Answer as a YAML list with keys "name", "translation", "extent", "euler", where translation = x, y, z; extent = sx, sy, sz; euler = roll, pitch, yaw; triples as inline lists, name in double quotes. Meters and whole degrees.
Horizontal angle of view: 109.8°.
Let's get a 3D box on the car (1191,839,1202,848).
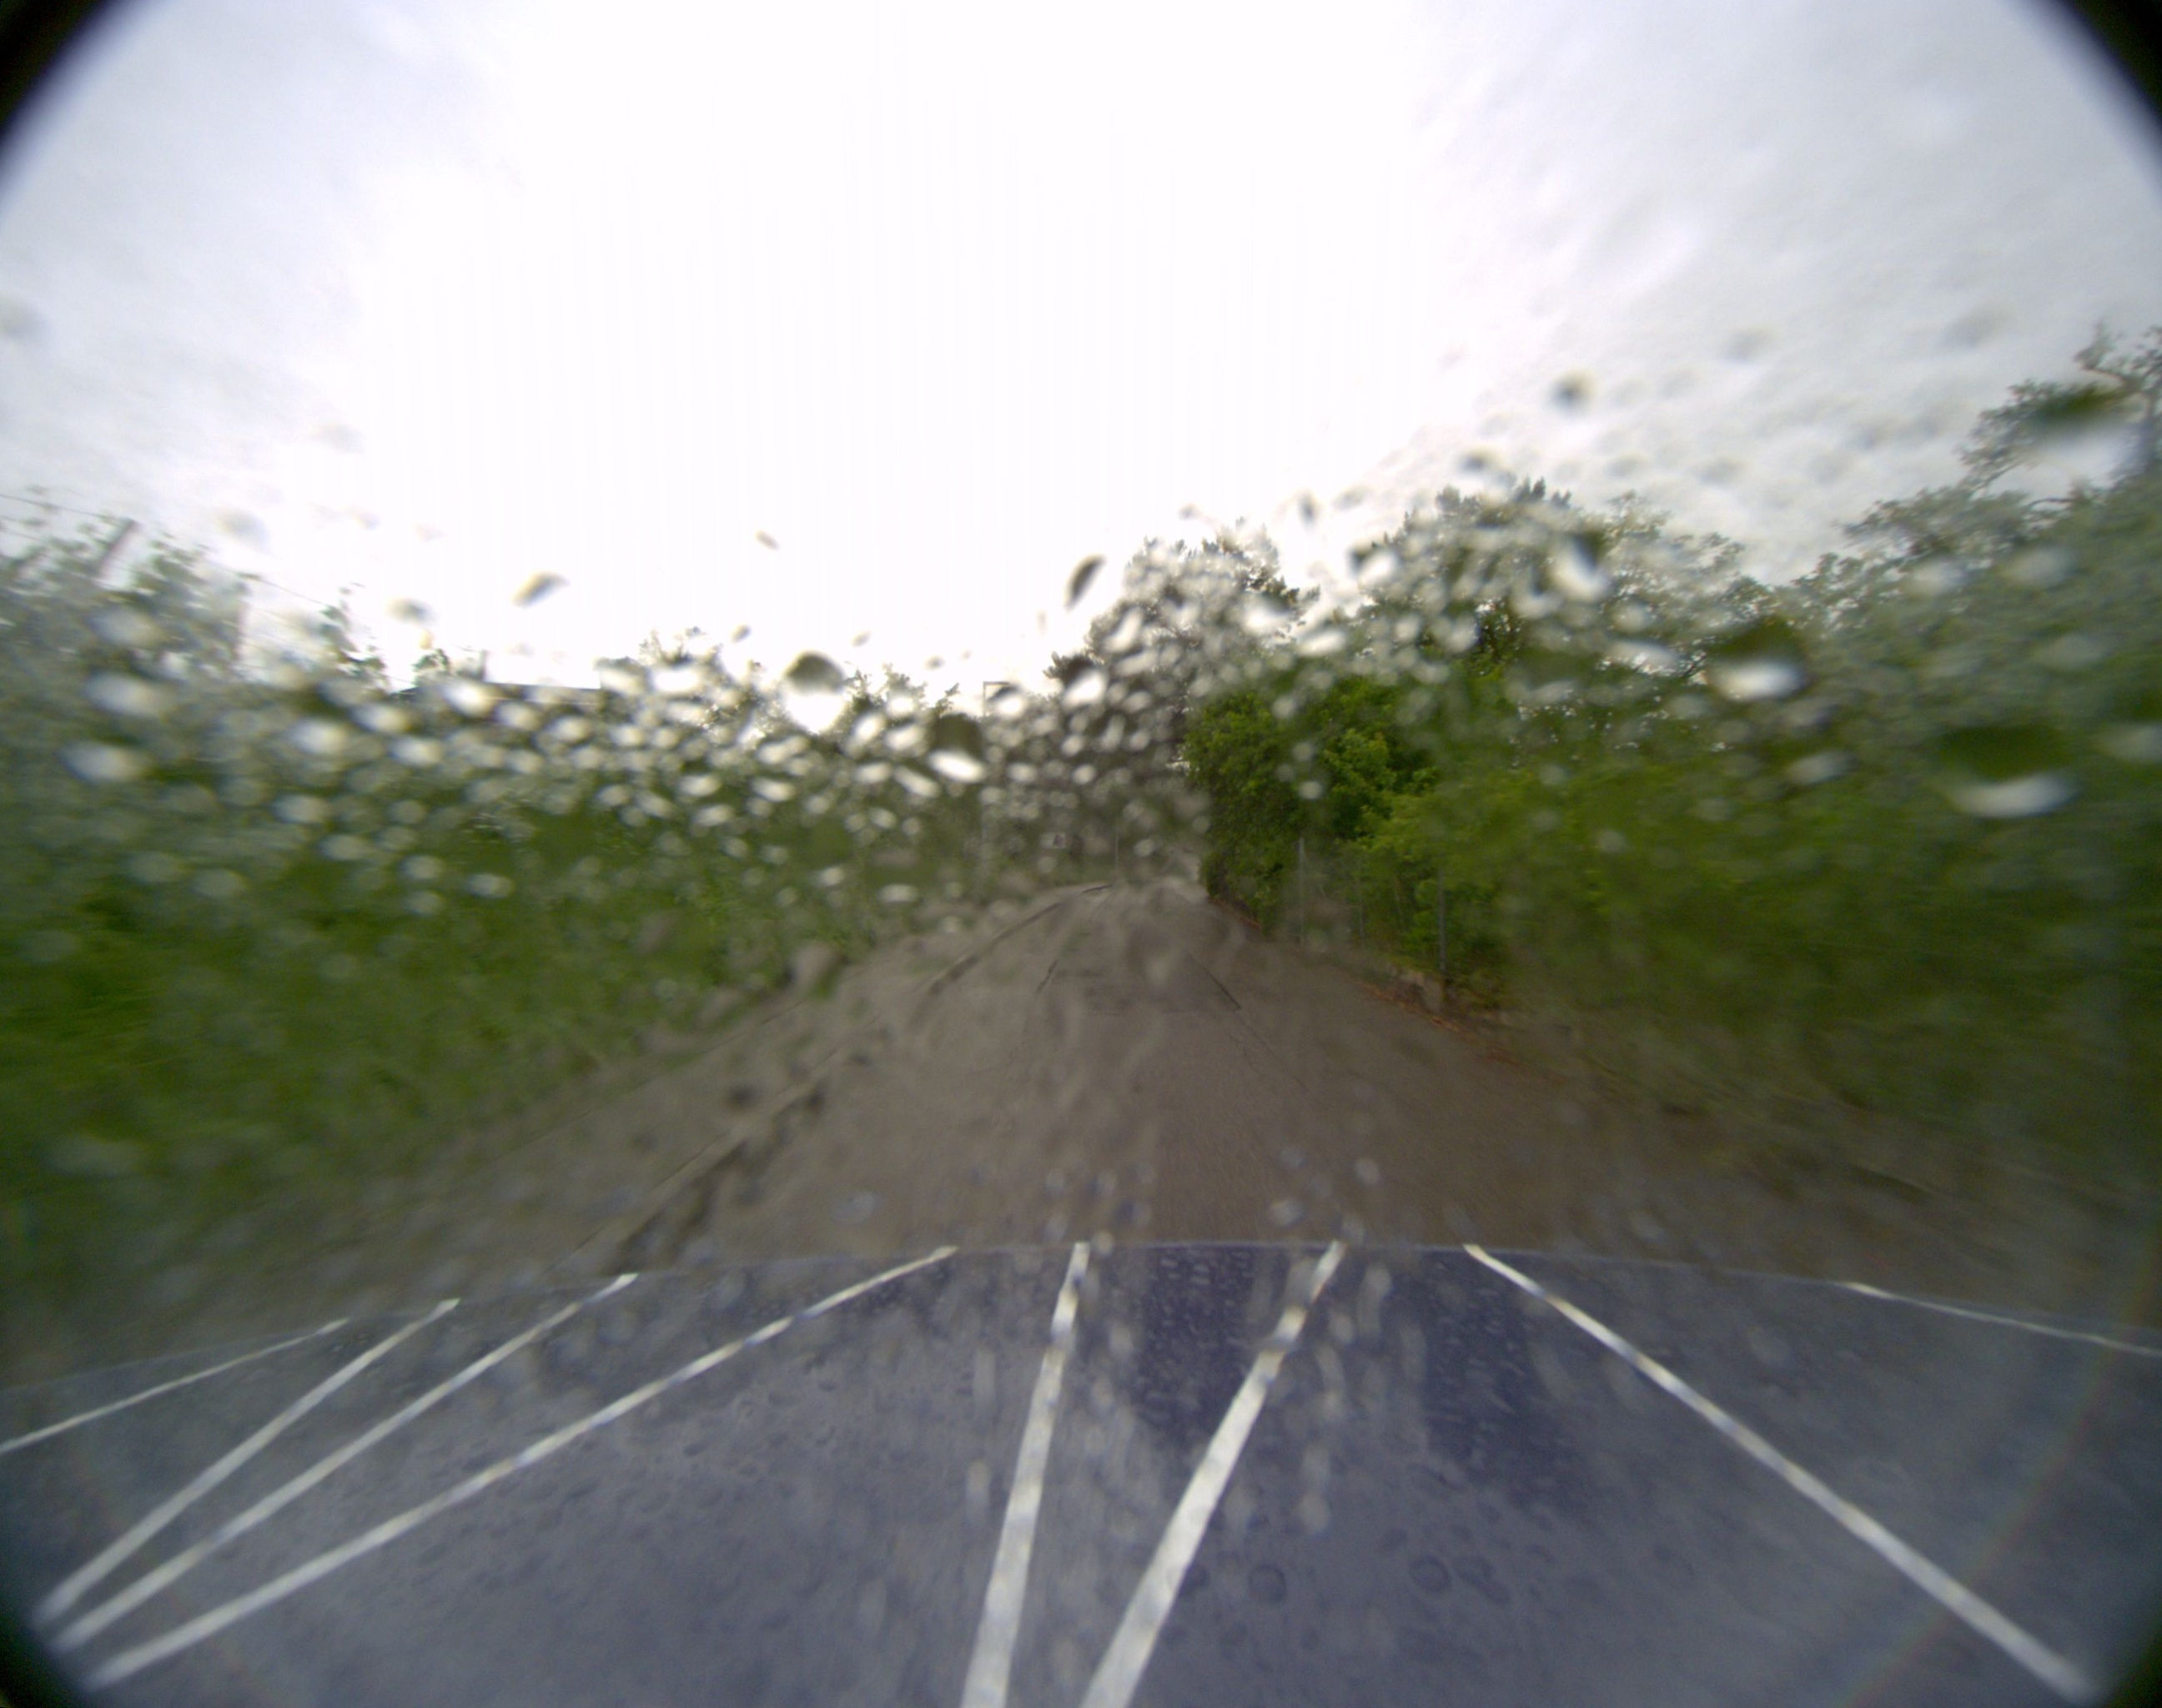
- name: "car"
  translation: [22.226, -1.972, 146.627]
  extent: [1.926, 1.611, 4.465]
  euler: [-1, -1, 8]
